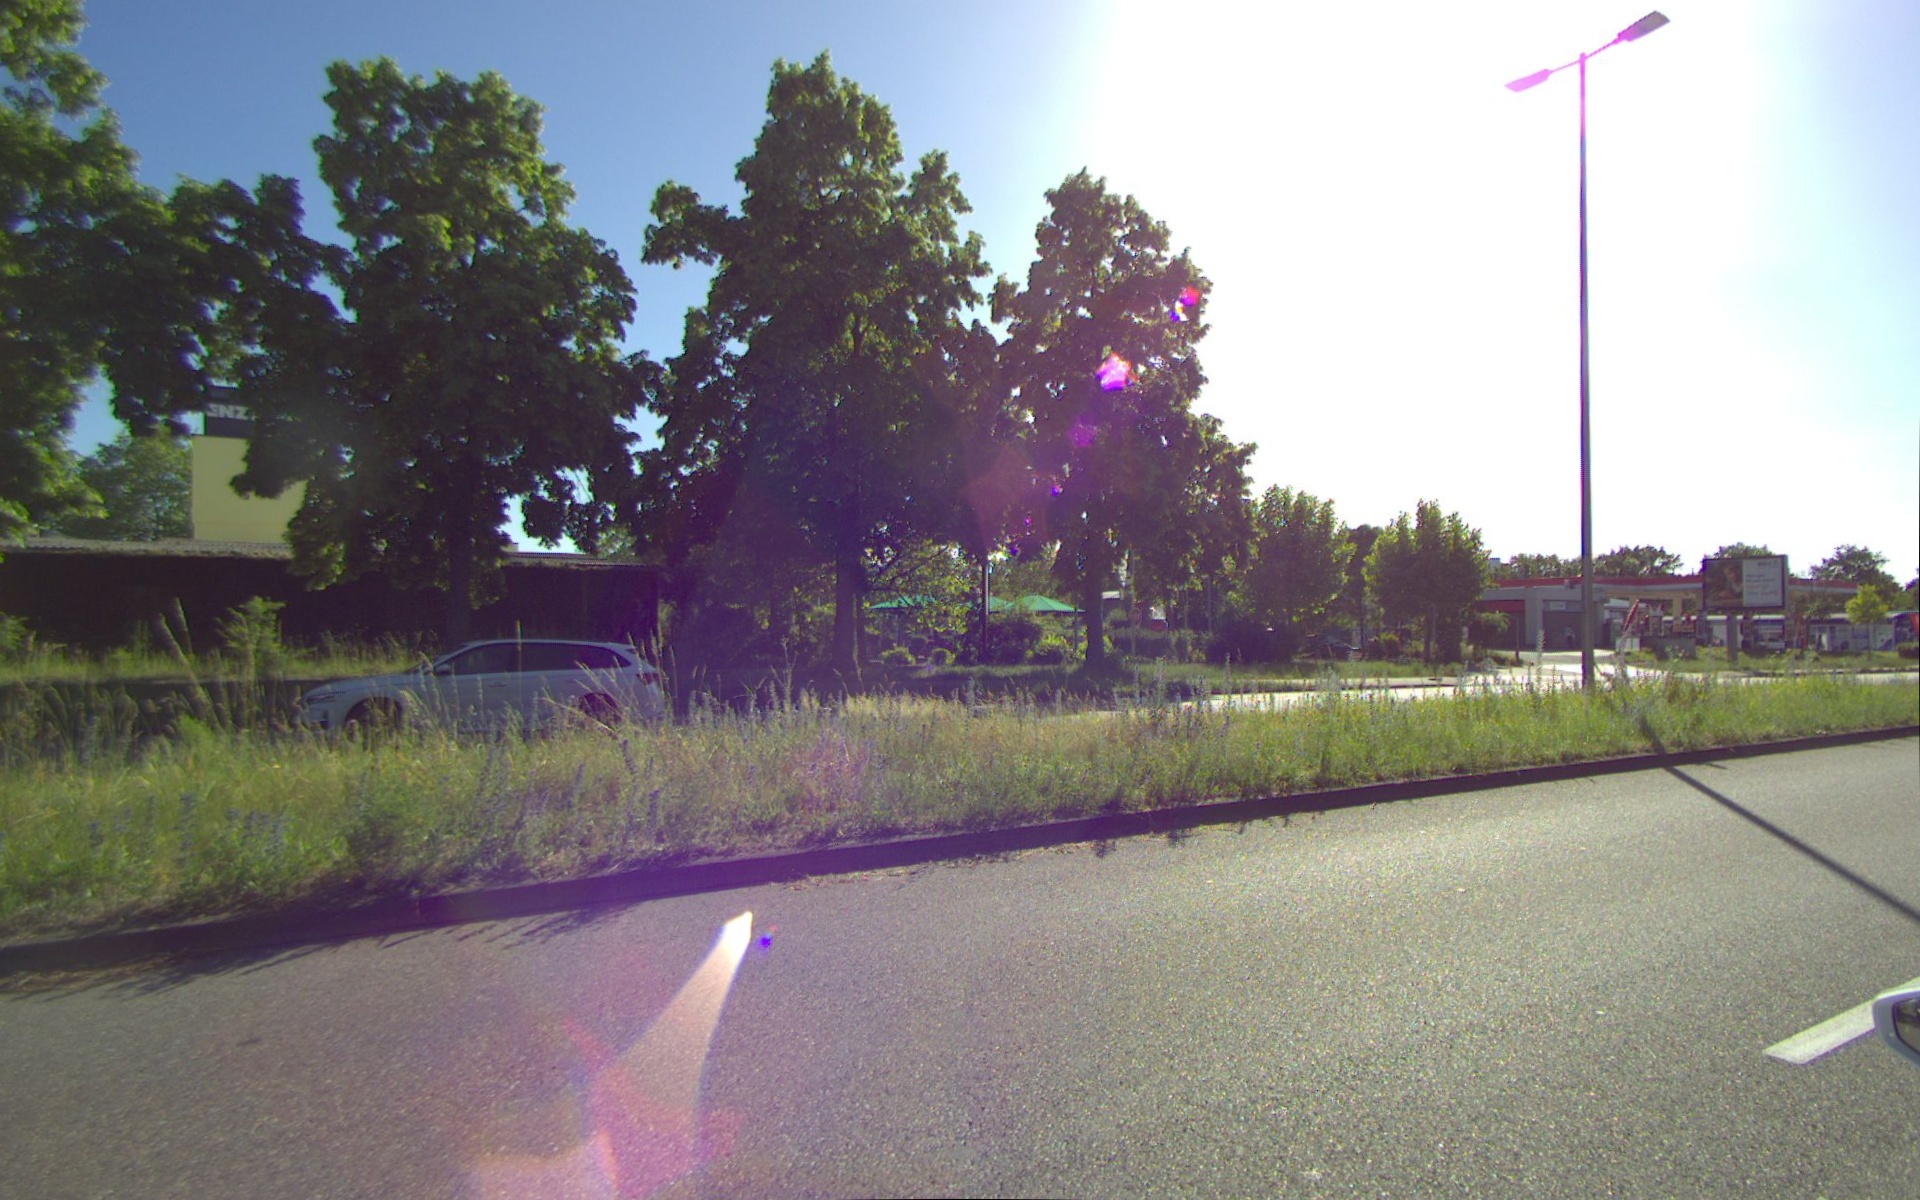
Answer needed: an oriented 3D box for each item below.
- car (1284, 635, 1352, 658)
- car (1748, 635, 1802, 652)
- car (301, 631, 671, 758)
[{"bbox_3d":[21.111,2.743,59.185,3.886,1.327,1.779,2,-2,-31],"label":"car"},{"bbox_3d":[91.987,4.885,113.463,1.978,1.867,4.360,2,-2,-32],"label":"car"},{"bbox_3d":[-6.546,1.239,14.164,4.476,1.540,1.748,1,-4,-31],"label":"car"}]
